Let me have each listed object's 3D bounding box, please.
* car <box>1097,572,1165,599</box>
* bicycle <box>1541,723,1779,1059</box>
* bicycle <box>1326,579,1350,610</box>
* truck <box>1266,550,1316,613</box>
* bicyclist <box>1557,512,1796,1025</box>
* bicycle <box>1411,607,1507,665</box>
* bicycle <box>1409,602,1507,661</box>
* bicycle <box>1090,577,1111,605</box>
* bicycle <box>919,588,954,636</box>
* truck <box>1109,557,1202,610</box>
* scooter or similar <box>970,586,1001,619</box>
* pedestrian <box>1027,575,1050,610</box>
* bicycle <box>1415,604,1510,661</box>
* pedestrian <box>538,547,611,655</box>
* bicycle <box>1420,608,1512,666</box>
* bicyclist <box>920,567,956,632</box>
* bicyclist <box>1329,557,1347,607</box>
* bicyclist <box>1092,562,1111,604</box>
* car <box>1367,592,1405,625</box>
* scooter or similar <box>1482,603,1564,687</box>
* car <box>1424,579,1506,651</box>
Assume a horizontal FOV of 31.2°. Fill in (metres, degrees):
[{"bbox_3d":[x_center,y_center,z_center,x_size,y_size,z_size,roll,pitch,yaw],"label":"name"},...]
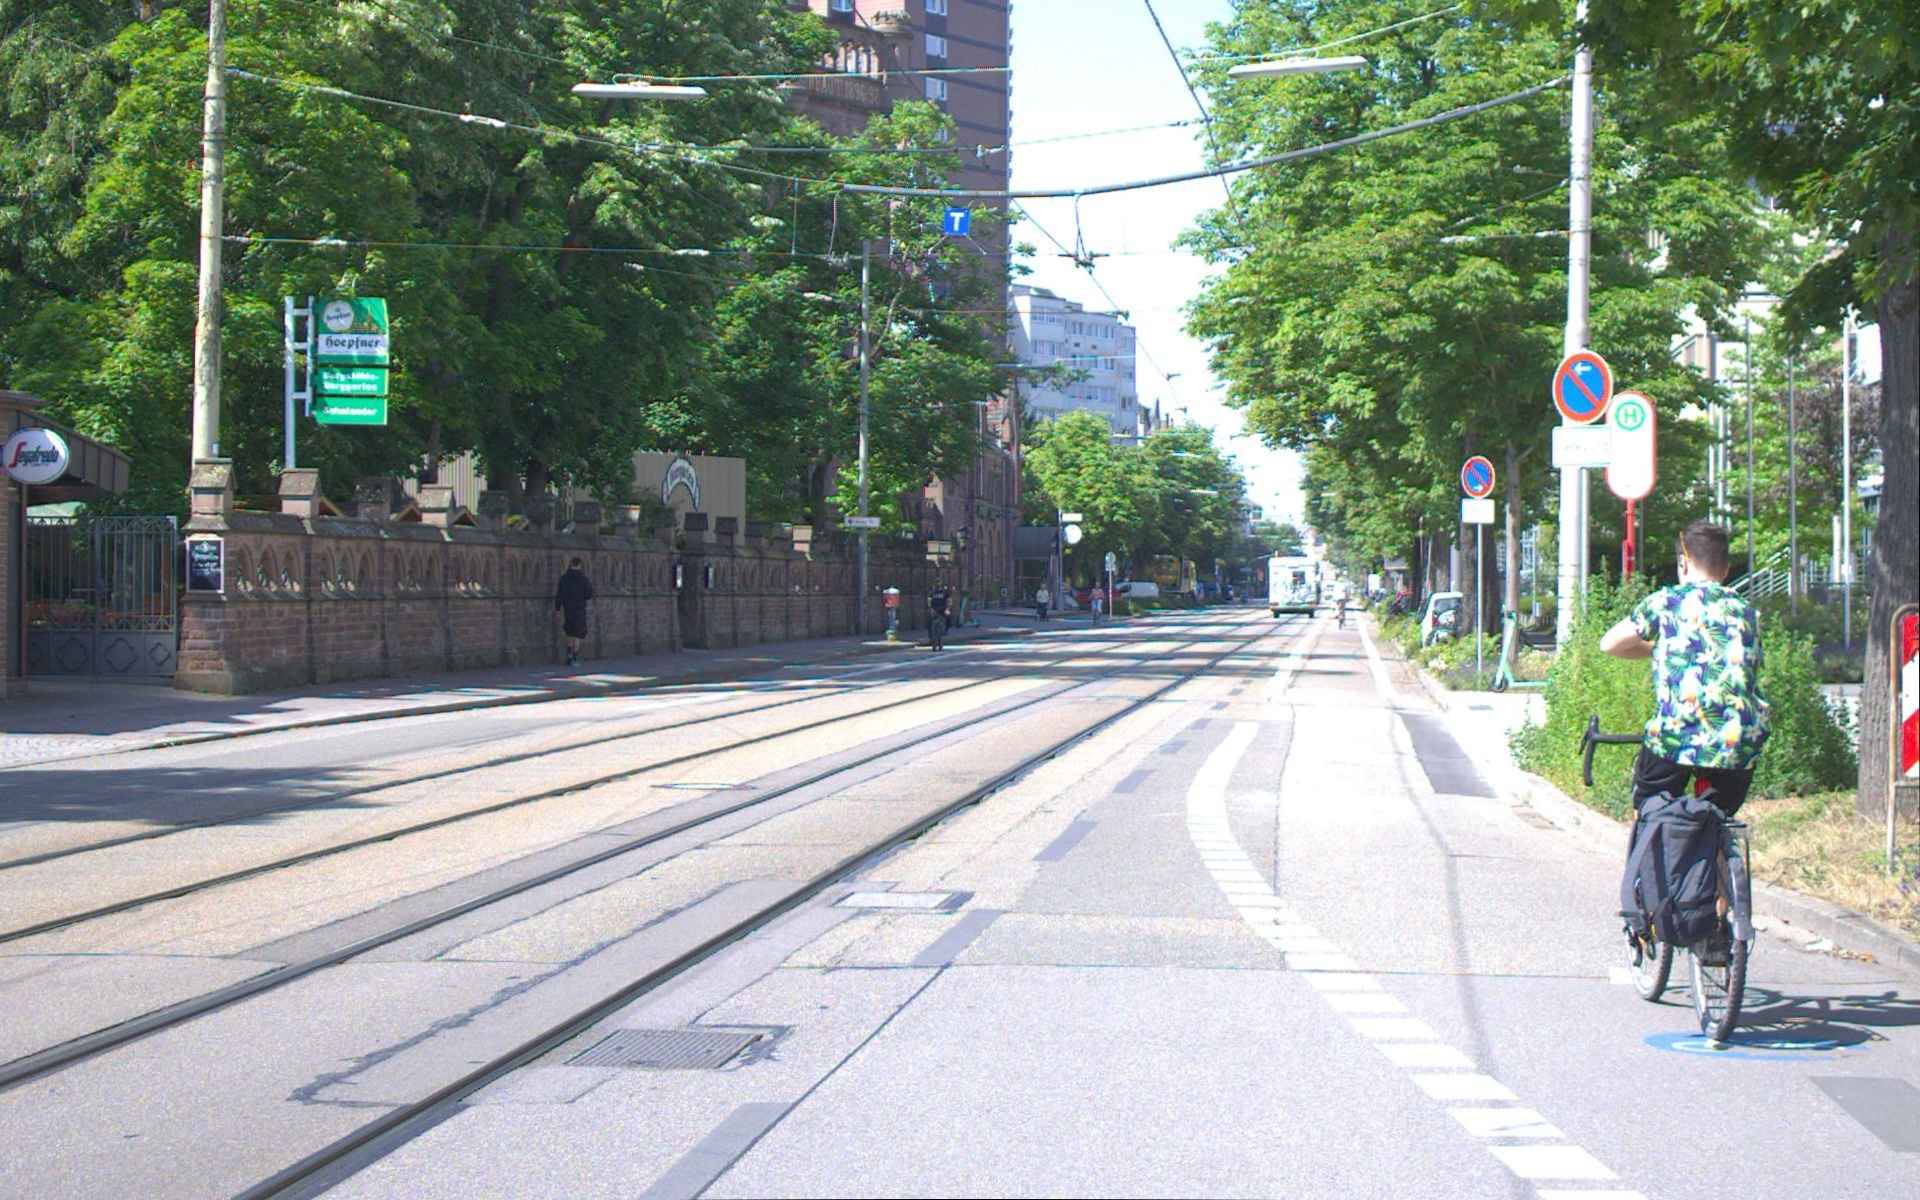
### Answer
[{"bbox_3d":[11.227,-0.969,225.358,3.986,1.744,2.000,0,0,-24],"label":"car"},{"bbox_3d":[2.444,0.978,12.192,0.608,0.980,2.163,1,1,6],"label":"bicycle"},{"bbox_3d":[14.094,-0.208,128.218,0.856,1.106,2.139,0,0,6],"label":"bicycle"},{"bbox_3d":[16.541,-0.928,171.729,2.403,3.098,6.035,1,0,6],"label":"truck"},{"bbox_3d":[2.500,0.563,12.088,0.716,1.718,0.988,1,0,7],"label":"bicyclist"},{"bbox_3d":[9.779,0.699,67.409,1.849,1.128,0.680,0,0,6],"label":"bicycle"},{"bbox_3d":[9.954,0.625,68.723,1.904,1.165,0.819,0,0,6],"label":"bicycle"},{"bbox_3d":[5.696,-0.369,139.361,0.662,1.150,2.013,0,0,7],"label":"bicycle"},{"bbox_3d":[-0.553,0.275,81.533,0.592,1.102,2.054,0,0,7],"label":"bicycle"},{"bbox_3d":[14.473,-1.188,253.670,2.817,3.846,9.984,0,0,28],"label":"truck"},{"bbox_3d":[0.875,0.079,118.116,1.183,1.125,0.333,0,0,-44],"label":"scooter or similar"},{"bbox_3d":[3.365,-0.320,146.573,0.883,1.507,1.476,0,0,-2],"label":"pedestrian"},{"bbox_3d":[9.767,0.631,66.878,1.793,1.082,0.726,0,0,6],"label":"bicycle"},{"bbox_3d":[-6.596,0.016,58.932,0.976,1.810,1.184,-1,0,7],"label":"pedestrian"},{"bbox_3d":[9.705,0.706,65.994,1.724,1.082,0.639,0,0,6],"label":"bicycle"},{"bbox_3d":[-0.517,-0.009,81.563,0.740,1.525,0.947,0,0,7],"label":"bicyclist"},{"bbox_3d":[14.114,-0.685,128.347,0.636,1.865,1.024,0,0,6],"label":"bicyclist"},{"bbox_3d":[5.742,-0.698,139.407,0.725,1.693,1.146,0,0,6],"label":"bicyclist"},{"bbox_3d":[19.157,0.357,154.719,1.630,1.467,4.112,0,0,7],"label":"car"},{"bbox_3d":[7.966,0.631,48.648,1.126,1.162,0.675,0,0,9],"label":"scooter or similar"},{"bbox_3d":[10.646,0.297,72.612,1.630,1.467,3.629,1,1,7],"label":"car"}]
